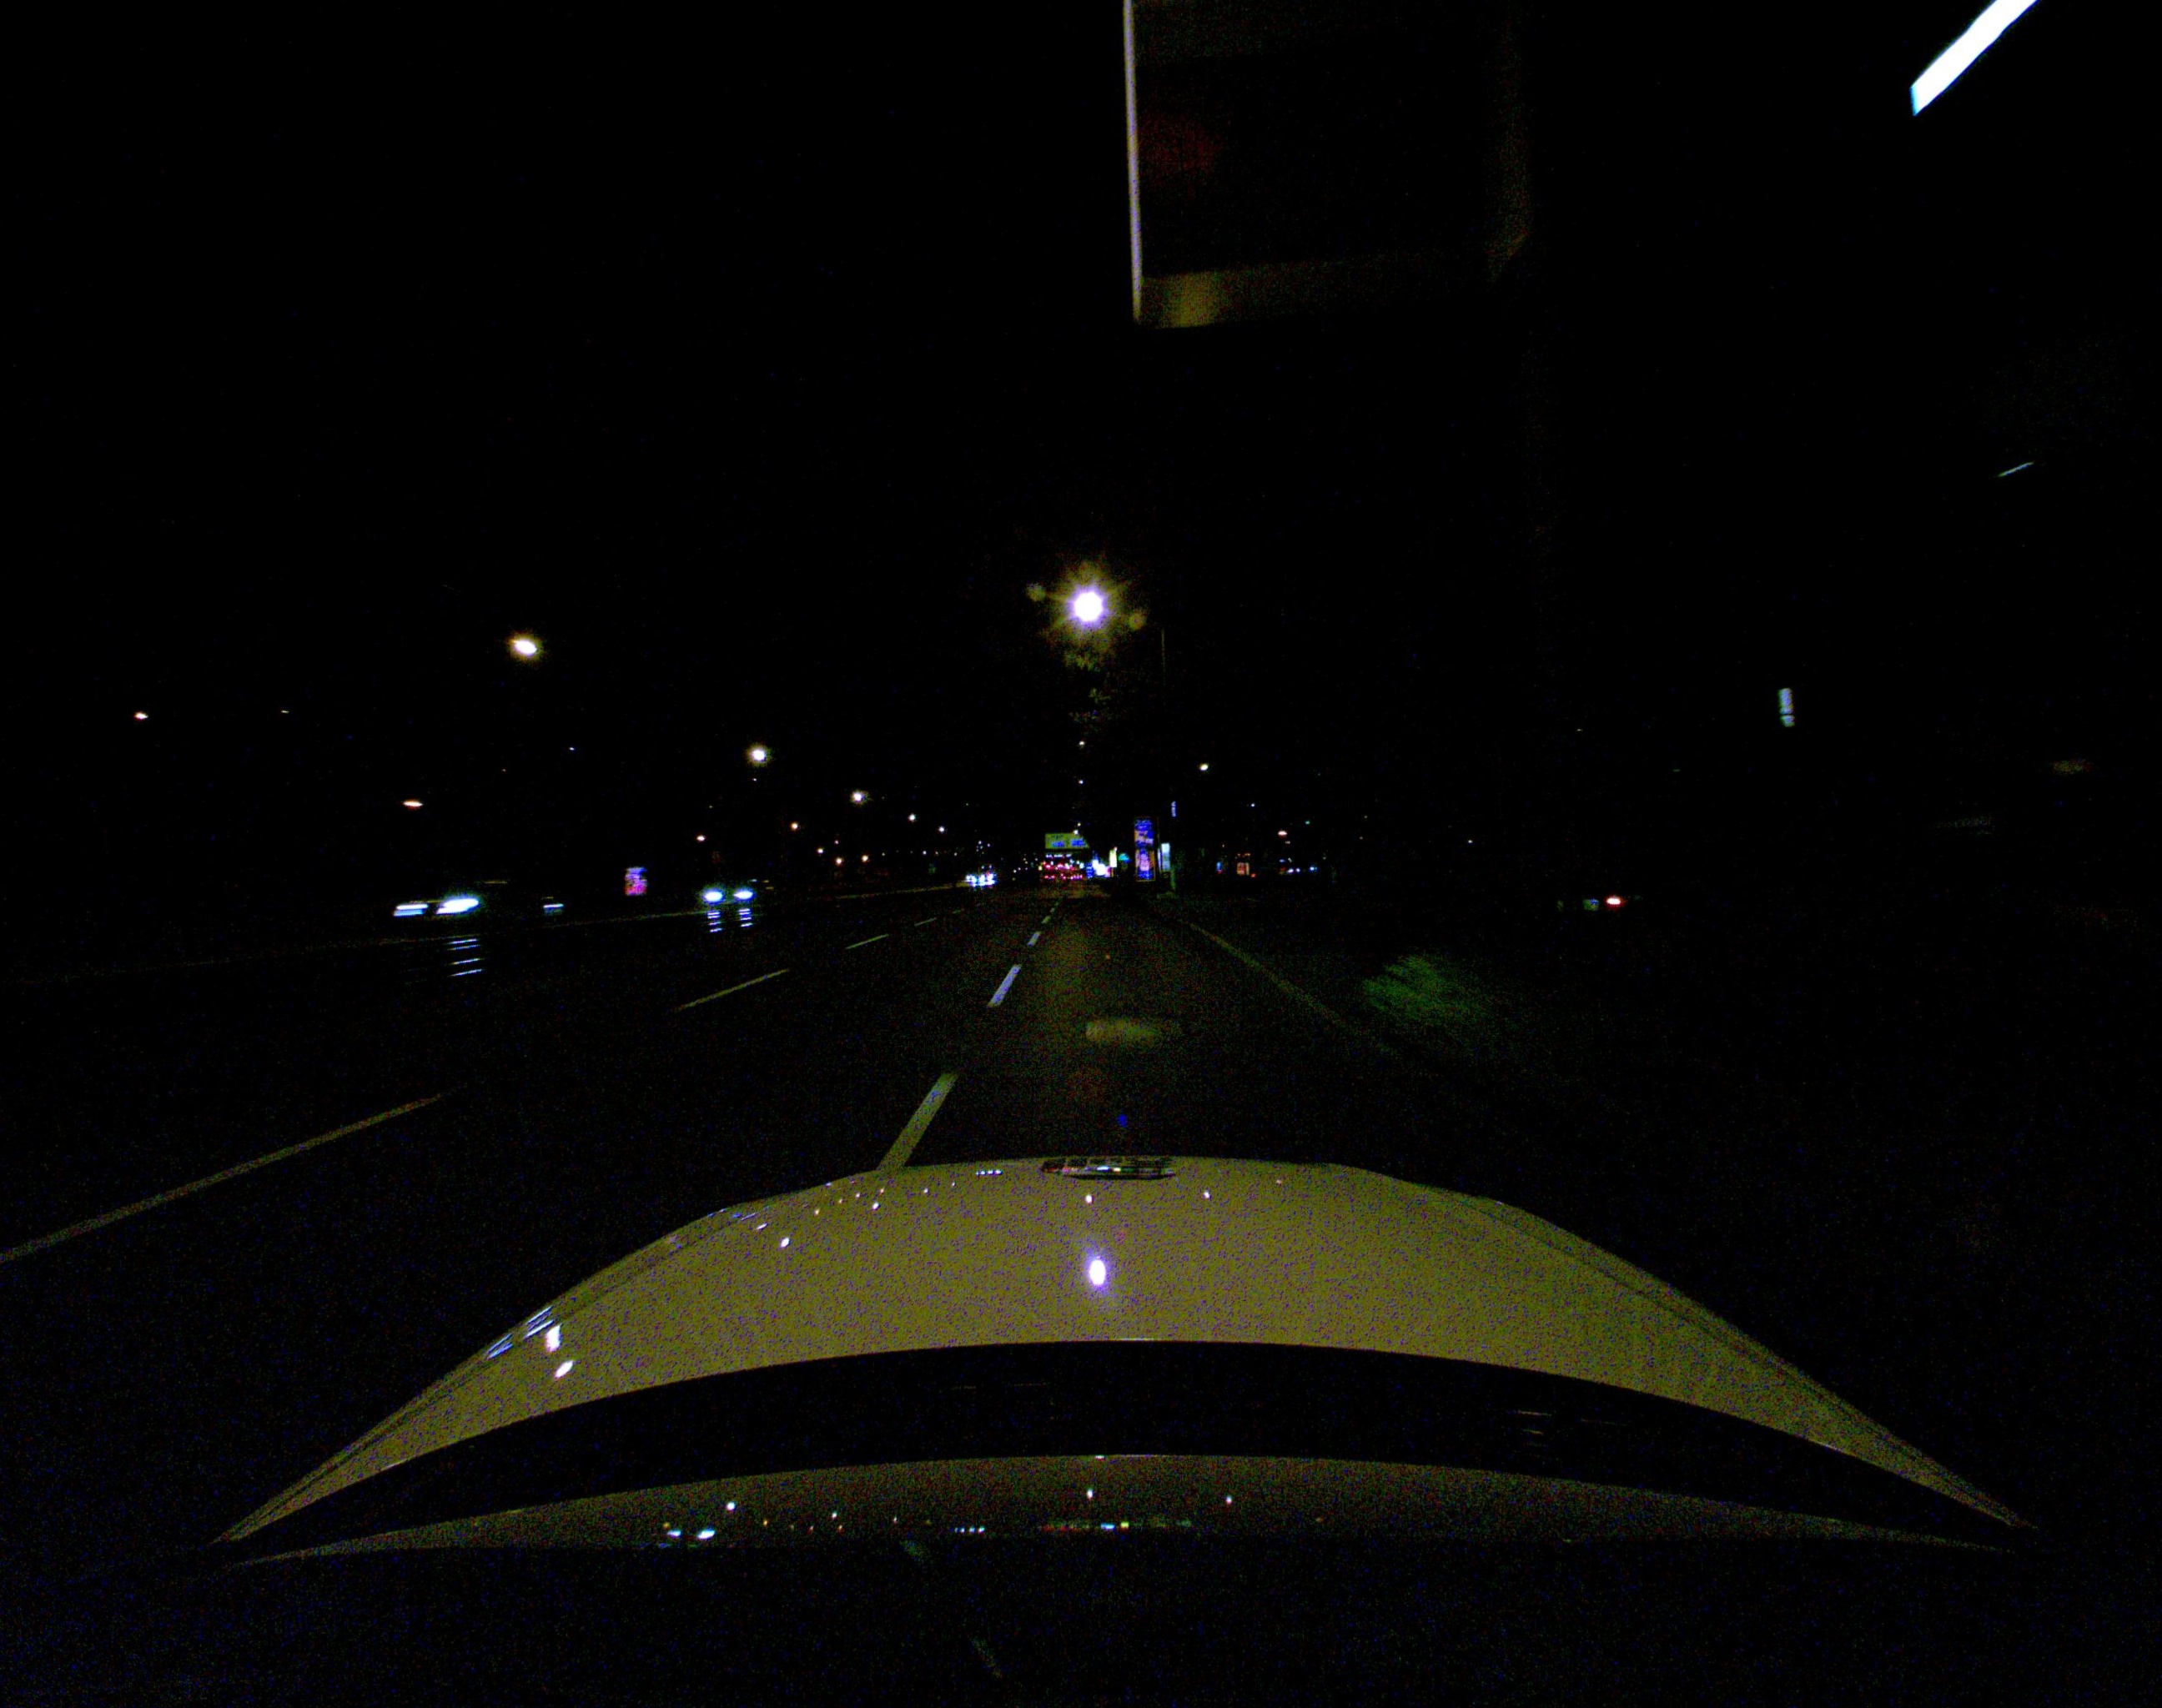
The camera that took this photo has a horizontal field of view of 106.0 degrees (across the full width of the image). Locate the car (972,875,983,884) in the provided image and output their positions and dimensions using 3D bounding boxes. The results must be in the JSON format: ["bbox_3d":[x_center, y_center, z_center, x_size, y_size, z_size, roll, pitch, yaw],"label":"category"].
[{"bbox_3d":[-21.890,5.408,172.895,1.858,1.750,3.699,-1,-1,-1],"label":"car"}]

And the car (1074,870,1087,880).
[{"bbox_3d":[-0.130,4.492,176.746,2.417,2.113,4.829,-1,-1,3],"label":"car"}]

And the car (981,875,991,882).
[{"bbox_3d":[-22.790,5.821,195.368,1.905,1.474,3.769,-1,-1,-1],"label":"car"}]

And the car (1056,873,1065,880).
[{"bbox_3d":[-4.696,5.271,189.795,1.987,1.553,3.998,-2,-1,0],"label":"car"}]

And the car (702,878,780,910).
[{"bbox_3d":[-17.324,2.000,41.771,1.860,1.429,4.956,-1,-1,0],"label":"car"}]

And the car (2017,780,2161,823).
[{"bbox_3d":[47.152,-2.375,37.874,1.868,1.644,4.353,-1,-1,-24],"label":"car"}]

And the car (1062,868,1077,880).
[{"bbox_3d":[-2.128,3.712,149.718,2.346,2.129,4.829,-1,-1,3],"label":"car"}]

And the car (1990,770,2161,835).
[{"bbox_3d":[35.900,-1.821,29.190,1.795,1.648,3.961,-6,-3,-30],"label":"car"}]

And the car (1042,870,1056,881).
[{"bbox_3d":[-6.137,4.148,155.299,2.253,2.014,4.829,-1,-1,3],"label":"car"}]

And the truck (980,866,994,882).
[{"bbox_3d":[-24.228,5.119,209.896,3.031,3.819,4.933,-1,-1,0],"label":"truck"}]

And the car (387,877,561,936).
[{"bbox_3d":[-19.000,1.589,25.805,1.855,1.514,4.615,-3,-1,2],"label":"car"}]

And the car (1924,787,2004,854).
[{"bbox_3d":[31.101,-1.211,28.736,4.025,1.658,1.612,-11,0,-43],"label":"car"}]

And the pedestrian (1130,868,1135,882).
[{"bbox_3d":[7.877,3.196,124.893,0.760,2.063,0.643,-1,-1,-1],"label":"pedestrian"}]
